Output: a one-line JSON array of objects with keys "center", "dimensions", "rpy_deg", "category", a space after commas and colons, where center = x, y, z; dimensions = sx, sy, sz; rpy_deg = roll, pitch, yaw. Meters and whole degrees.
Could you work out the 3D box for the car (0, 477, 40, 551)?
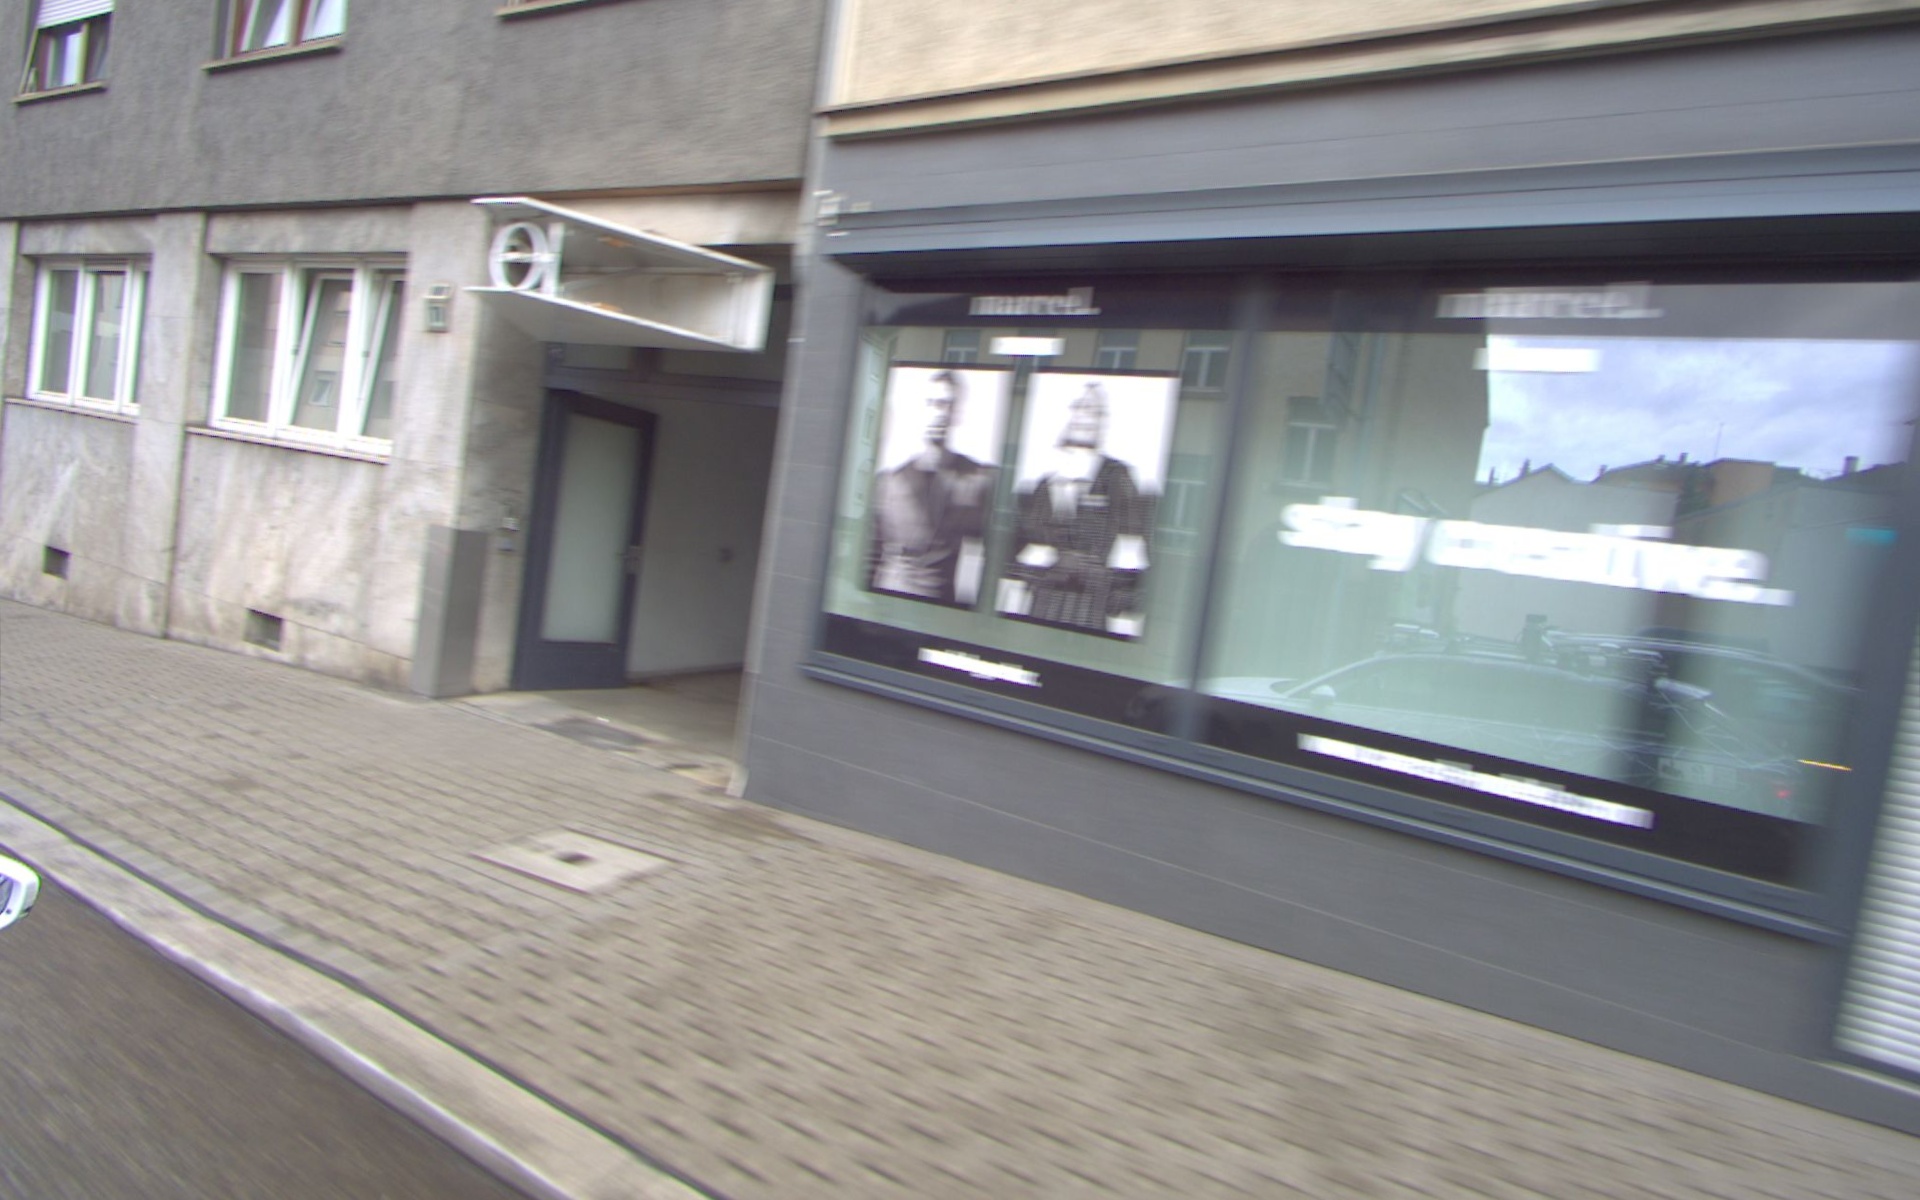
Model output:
[{"center": [-22.262, -2.097, 22.136], "dimensions": [4.411, 1.495, 1.798], "rpy_deg": [7, 0, 32], "category": "car"}]
